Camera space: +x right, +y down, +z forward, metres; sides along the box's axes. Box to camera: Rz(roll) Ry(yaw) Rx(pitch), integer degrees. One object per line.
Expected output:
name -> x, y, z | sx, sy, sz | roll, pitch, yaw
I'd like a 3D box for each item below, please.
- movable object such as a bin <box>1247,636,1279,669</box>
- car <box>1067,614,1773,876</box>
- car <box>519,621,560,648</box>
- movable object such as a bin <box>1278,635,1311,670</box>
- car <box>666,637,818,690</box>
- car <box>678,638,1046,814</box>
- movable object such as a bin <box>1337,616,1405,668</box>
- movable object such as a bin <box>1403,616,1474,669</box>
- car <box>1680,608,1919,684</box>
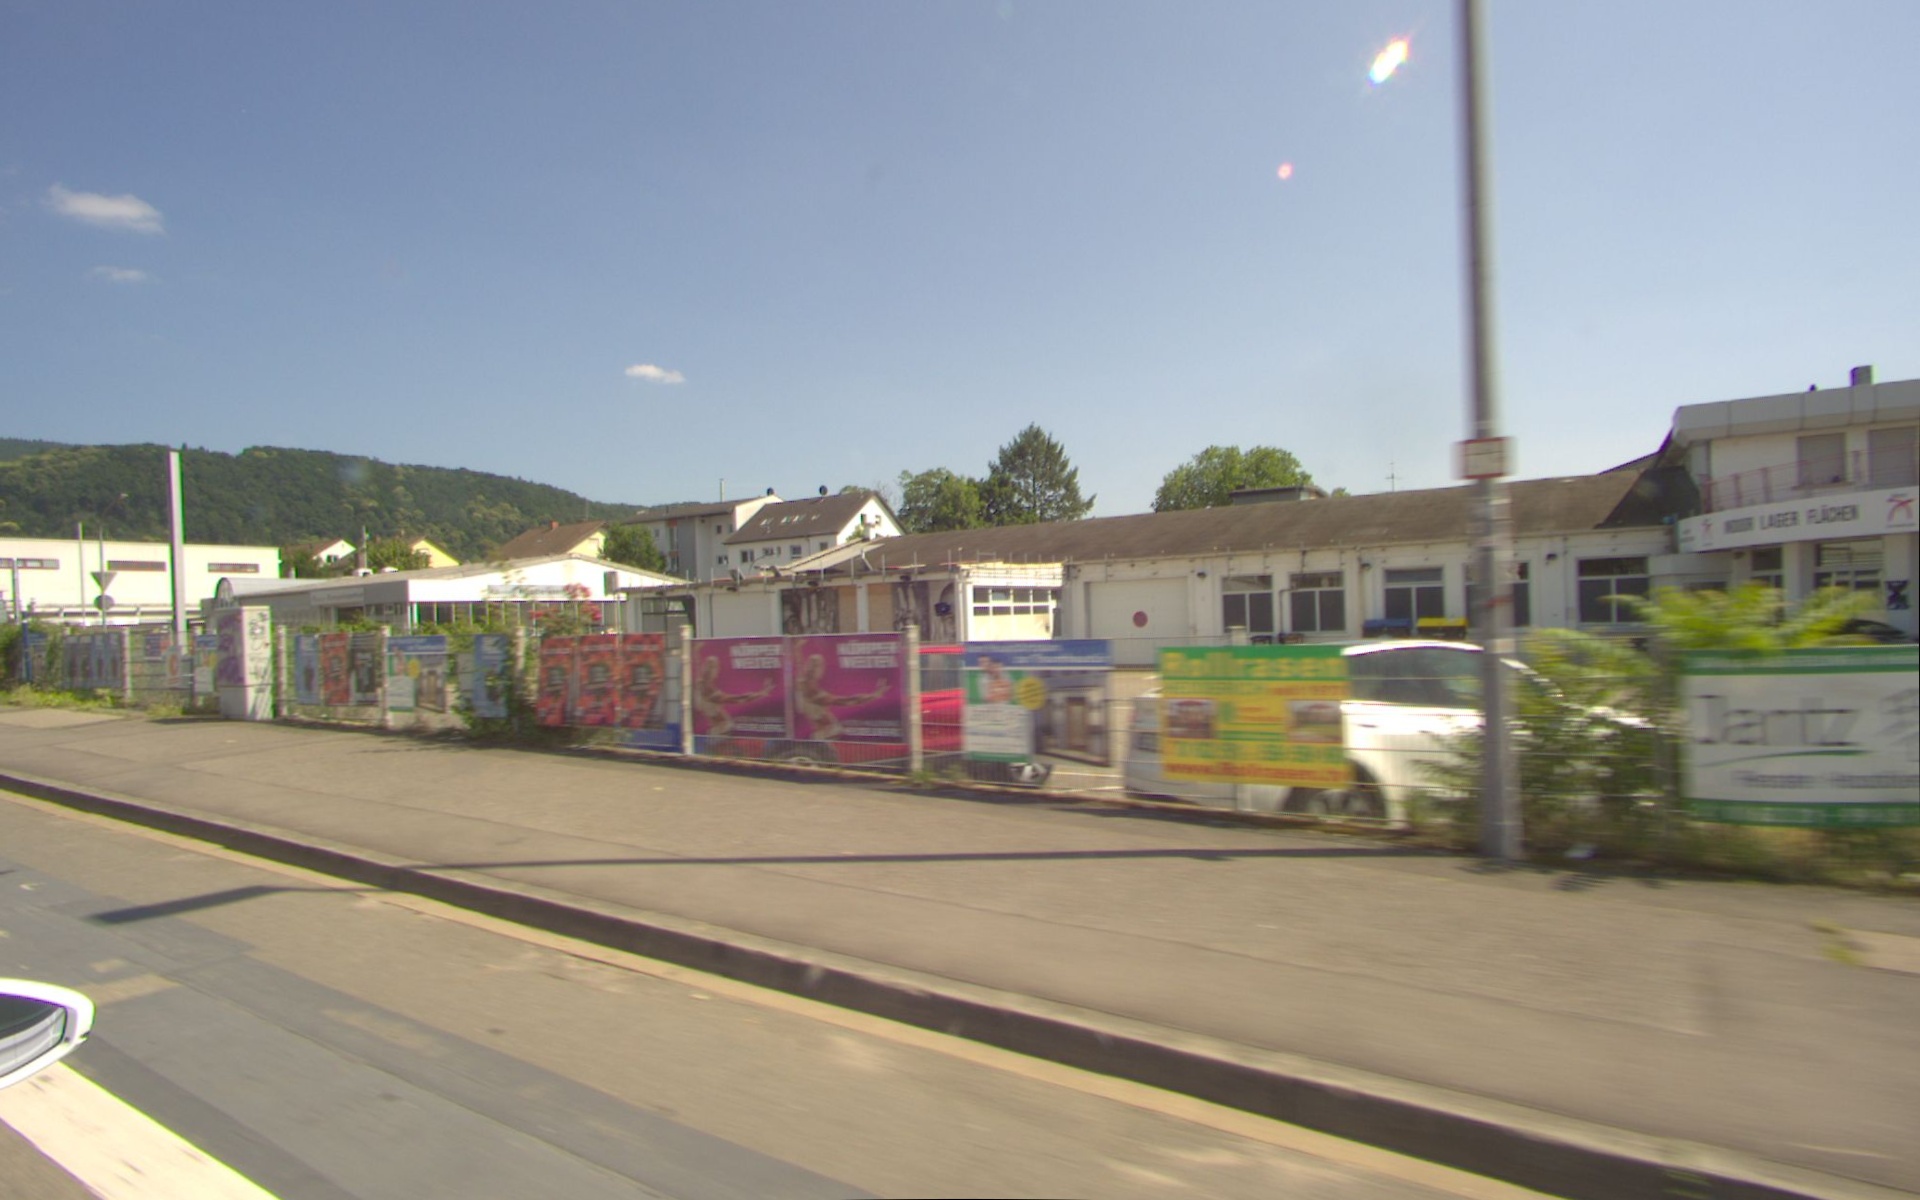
movable object such as a bin -> 9.684, 1.661, 31.964 | 0.862, 1.005, 0.745 | -1, -1, 28
car -> 3.565, 1.035, 8.043 | 4.957, 1.639, 2.024 | 0, -6, -16
car -> -23.936, 1.988, 56.928 | 1.768, 1.482, 3.808 | 1, -3, -29
movable object such as a bin -> 10.515, 1.633, 31.451 | 0.862, 1.050, 0.745 | -1, 0, 28
car -> -6.569, 1.888, 30.609 | 2.090, 1.416, 4.318 | -1, -1, 34
car -> -1.144, 1.270, 11.181 | 3.764, 1.637, 1.889 | 0, -1, -19
movable object such as a bin -> 12.230, 1.223, 29.780 | 1.728, 1.474, 1.569 | -1, -1, 28
movable object such as a bin -> 13.814, 1.202, 28.916 | 1.797, 1.474, 1.569 | -1, -1, 28
car -> 16.934, 0.910, 19.478 | 1.861, 1.306, 4.549 | 1, -3, -17
